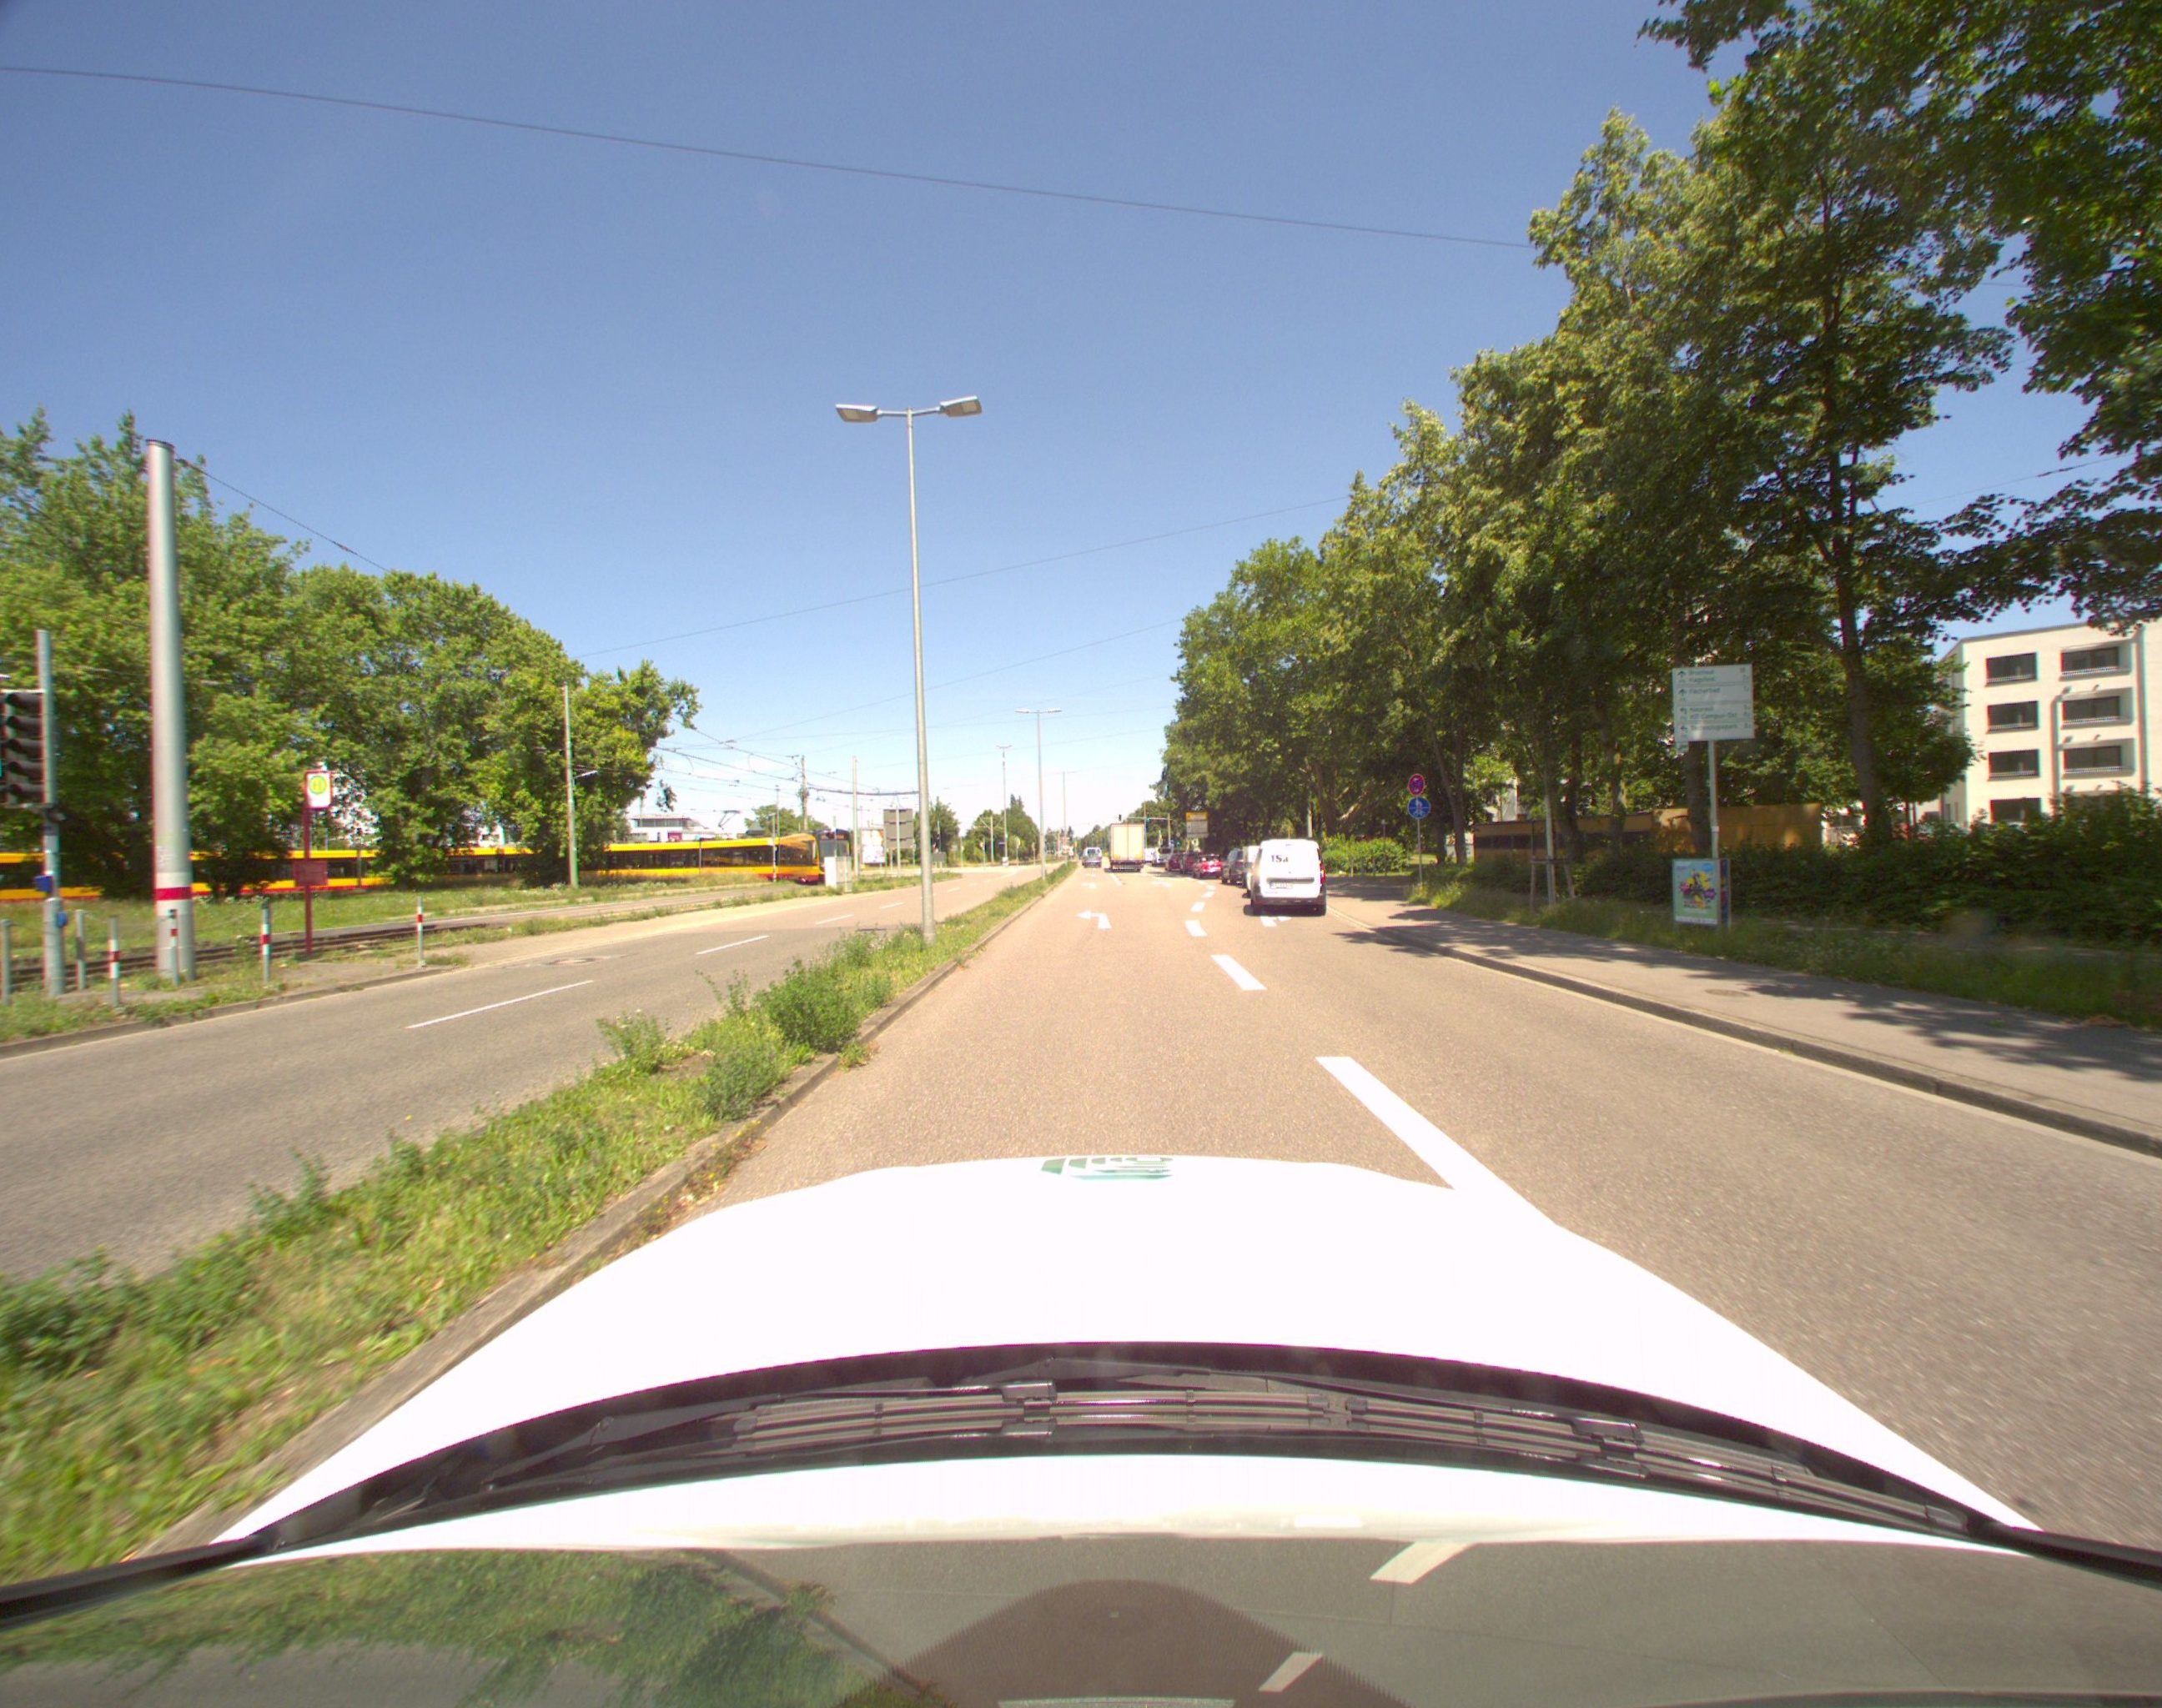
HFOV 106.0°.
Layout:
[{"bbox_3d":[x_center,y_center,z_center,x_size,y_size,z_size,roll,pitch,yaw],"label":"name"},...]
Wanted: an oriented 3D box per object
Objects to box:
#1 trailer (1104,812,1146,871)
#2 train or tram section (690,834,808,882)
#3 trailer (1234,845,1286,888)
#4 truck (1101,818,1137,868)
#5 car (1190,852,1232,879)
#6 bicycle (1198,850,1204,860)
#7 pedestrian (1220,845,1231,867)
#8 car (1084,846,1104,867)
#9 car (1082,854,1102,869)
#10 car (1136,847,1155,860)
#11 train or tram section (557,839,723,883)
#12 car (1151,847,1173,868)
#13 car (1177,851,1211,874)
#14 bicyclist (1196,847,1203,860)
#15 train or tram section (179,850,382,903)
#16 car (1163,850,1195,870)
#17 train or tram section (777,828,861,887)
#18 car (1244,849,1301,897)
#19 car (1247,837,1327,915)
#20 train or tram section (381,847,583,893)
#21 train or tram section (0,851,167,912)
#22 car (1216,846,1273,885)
[{"bbox_3d":[3.475,-0.948,65.939,2.818,4.421,8.746,0,0,-1],"label":"trailer"},{"bbox_3d":[-25.821,0.265,63.068,10.092,3.466,3.065,0,0,31],"label":"train or tram section"},{"bbox_3d":[7.261,0.475,33.173,1.464,1.669,2.855,0,0,-1],"label":"trailer"},{"bbox_3d":[3.405,-1.024,74.517,2.818,4.344,8.282,0,1,0],"label":"truck"},{"bbox_3d":[7.321,0.619,46.245,1.649,1.396,4.266,0,0,0],"label":"car"},{"bbox_3d":[16.492,0.115,111.911,0.640,1.304,1.631,-4,-1,12],"label":"bicycle"},{"bbox_3d":[12.432,0.150,70.060,0.750,1.815,0.693,-3,0,-1],"label":"pedestrian"},{"bbox_3d":[1.382,0.235,89.967,1.988,2.111,4.744,-1,1,-2],"label":"car"},{"bbox_3d":[1.174,0.738,82.186,1.885,1.371,4.432,3,0,2],"label":"car"},{"bbox_3d":[7.755,-0.050,98.732,1.987,1.437,4.251,-1,1,0],"label":"car"},{"bbox_3d":[-36.271,0.583,67.095,12.637,3.466,3.053,0,0,8],"label":"train or tram section"},{"bbox_3d":[8.322,0.354,84.309,1.885,2.121,3.886,0,0,0],"label":"car"},{"bbox_3d":[7.847,0.538,56.995,1.852,1.549,3.886,0,0,0],"label":"car"},{"bbox_3d":[16.302,-0.066,112.047,0.797,1.727,0.681,-4,-1,11],"label":"bicyclist"},{"bbox_3d":[-57.468,1.458,58.882,3.008,3.466,10.285,0,0,44],"label":"train or tram section"},{"bbox_3d":[8.029,0.499,67.106,1.988,1.503,4.499,-2,1,-2],"label":"car"},{"bbox_3d":[-17.770,0.200,54.375,3.054,3.466,13.171,0,0,-28],"label":"train or tram section"},{"bbox_3d":[6.384,0.583,27.412,1.709,1.488,3.891,0,0,12],"label":"car"},{"bbox_3d":[5.131,0.491,20.725,1.699,1.747,4.440,0,0,10],"label":"car"},{"bbox_3d":[-47.859,1.197,65.783,12.781,3.466,3.019,0,0,-28],"label":"train or tram section"},{"bbox_3d":[-63.398,1.598,47.518,3.013,3.466,13.322,0,0,16],"label":"train or tram section"},{"bbox_3d":[7.320,0.464,36.807,1.694,1.654,4.397,0,0,0],"label":"car"}]
